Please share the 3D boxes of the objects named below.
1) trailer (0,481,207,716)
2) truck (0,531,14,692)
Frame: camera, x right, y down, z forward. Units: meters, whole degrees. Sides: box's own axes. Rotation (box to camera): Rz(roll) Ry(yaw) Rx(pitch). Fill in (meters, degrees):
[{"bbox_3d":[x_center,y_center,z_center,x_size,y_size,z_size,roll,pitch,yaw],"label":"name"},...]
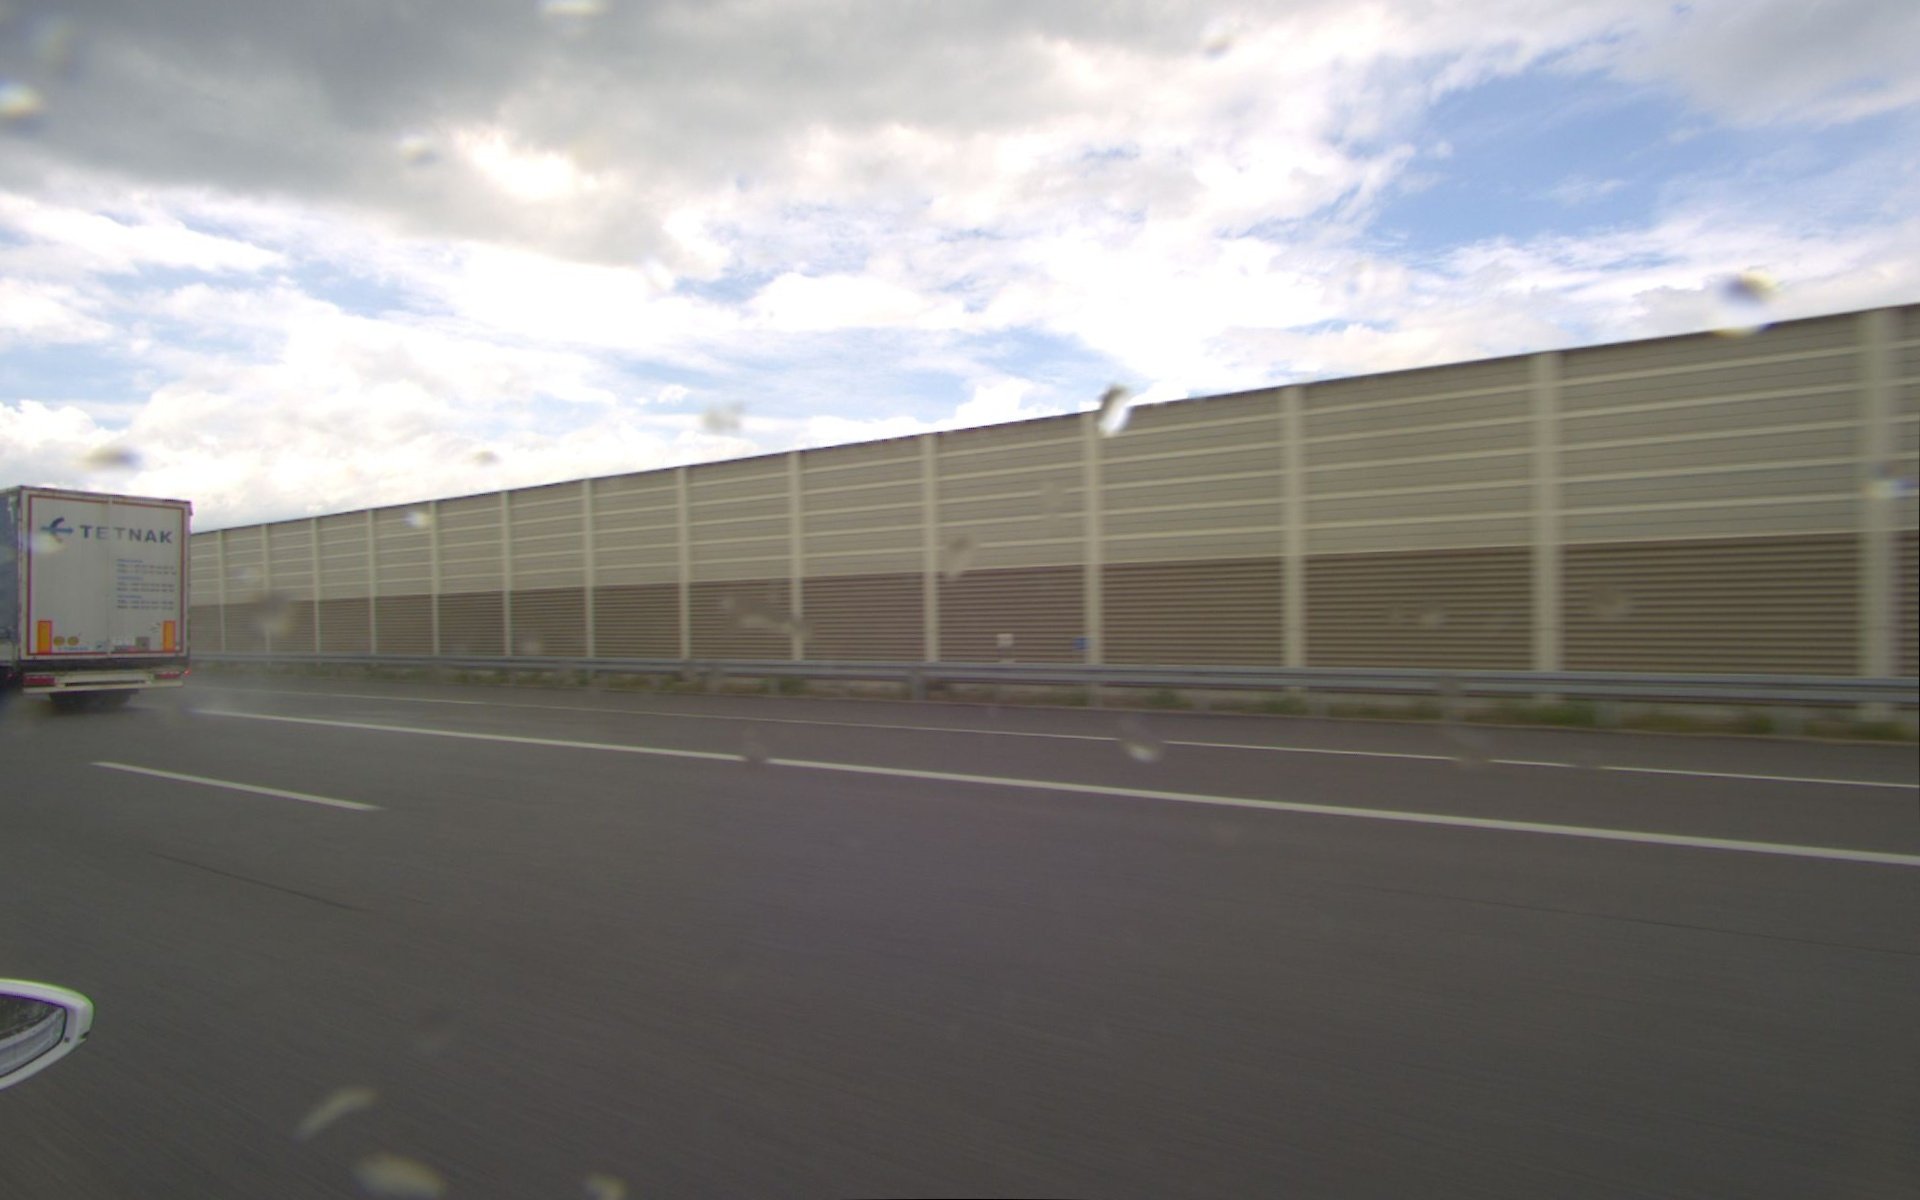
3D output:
[{"bbox_3d":[-21.575,0.172,22.361,14.247,4.083,2.756,-2,-2,32],"label":"trailer"},{"bbox_3d":[-27.349,0.335,26.002,5.644,4.086,2.740,-1,-1,32],"label":"truck"}]
